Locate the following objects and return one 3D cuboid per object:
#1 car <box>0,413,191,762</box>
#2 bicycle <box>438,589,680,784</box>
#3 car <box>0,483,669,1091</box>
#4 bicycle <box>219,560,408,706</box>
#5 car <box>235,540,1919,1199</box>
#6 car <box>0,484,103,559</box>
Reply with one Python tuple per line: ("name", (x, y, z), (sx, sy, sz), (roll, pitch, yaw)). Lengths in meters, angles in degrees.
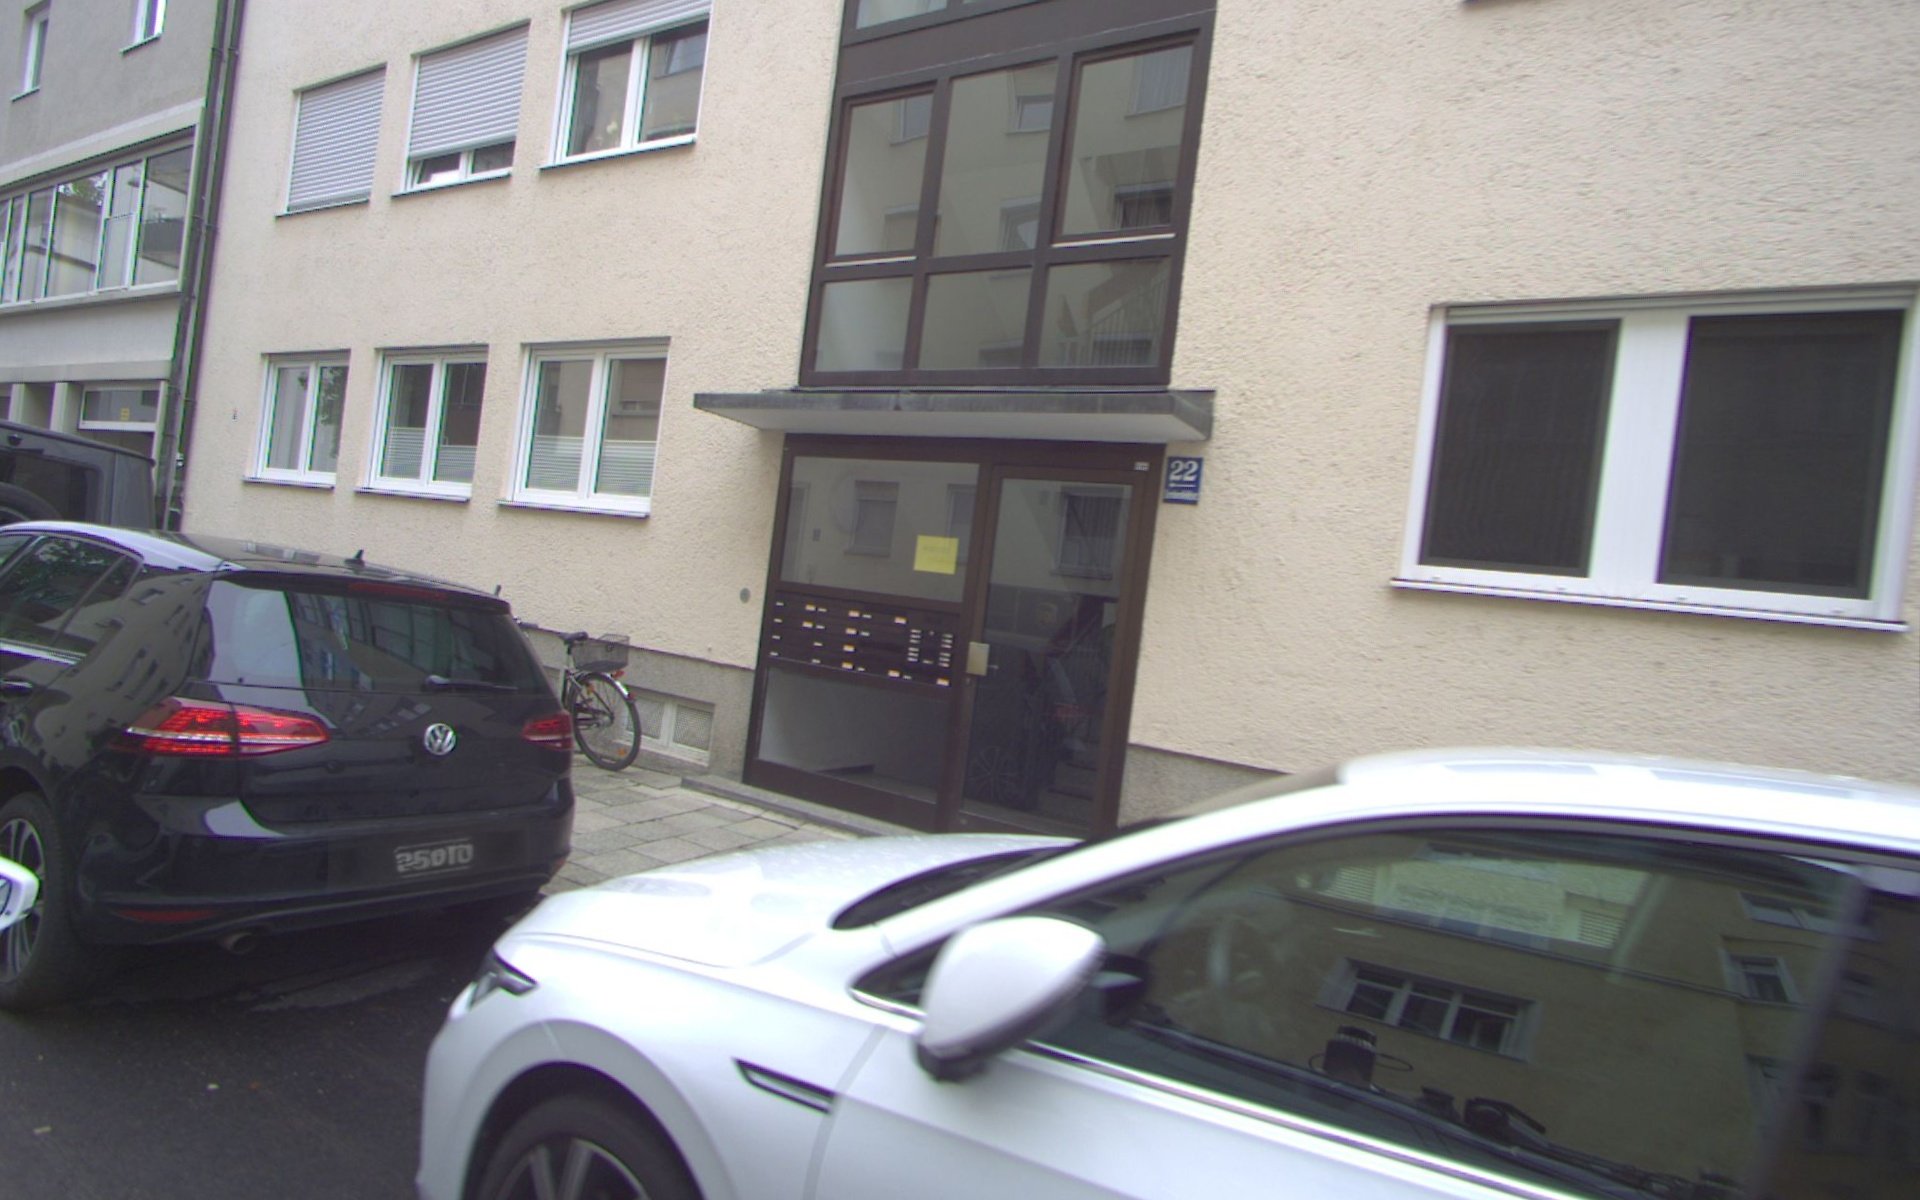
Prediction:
("car", (-7.389, -0.308, 6.774), (4.268, 1.997, 1.756), (8, -2, 29))
("bicycle", (-2.920, 0.565, 7.272), (1.731, 1.121, 0.654), (7, 3, 31))
("car", (-3.481, 0.375, 4.325), (4.171, 1.503, 1.716), (7, -2, 29))
("bicycle", (-5.670, 0.254, 8.794), (1.767, 1.043, 0.644), (7, 3, 31))
("car", (0.857, 0.916, 1.717), (4.171, 1.503, 1.716), (7, -2, 29))
("car", (-22.323, -1.971, 22.561), (1.965, 1.417, 4.213), (9, 0, 28))
